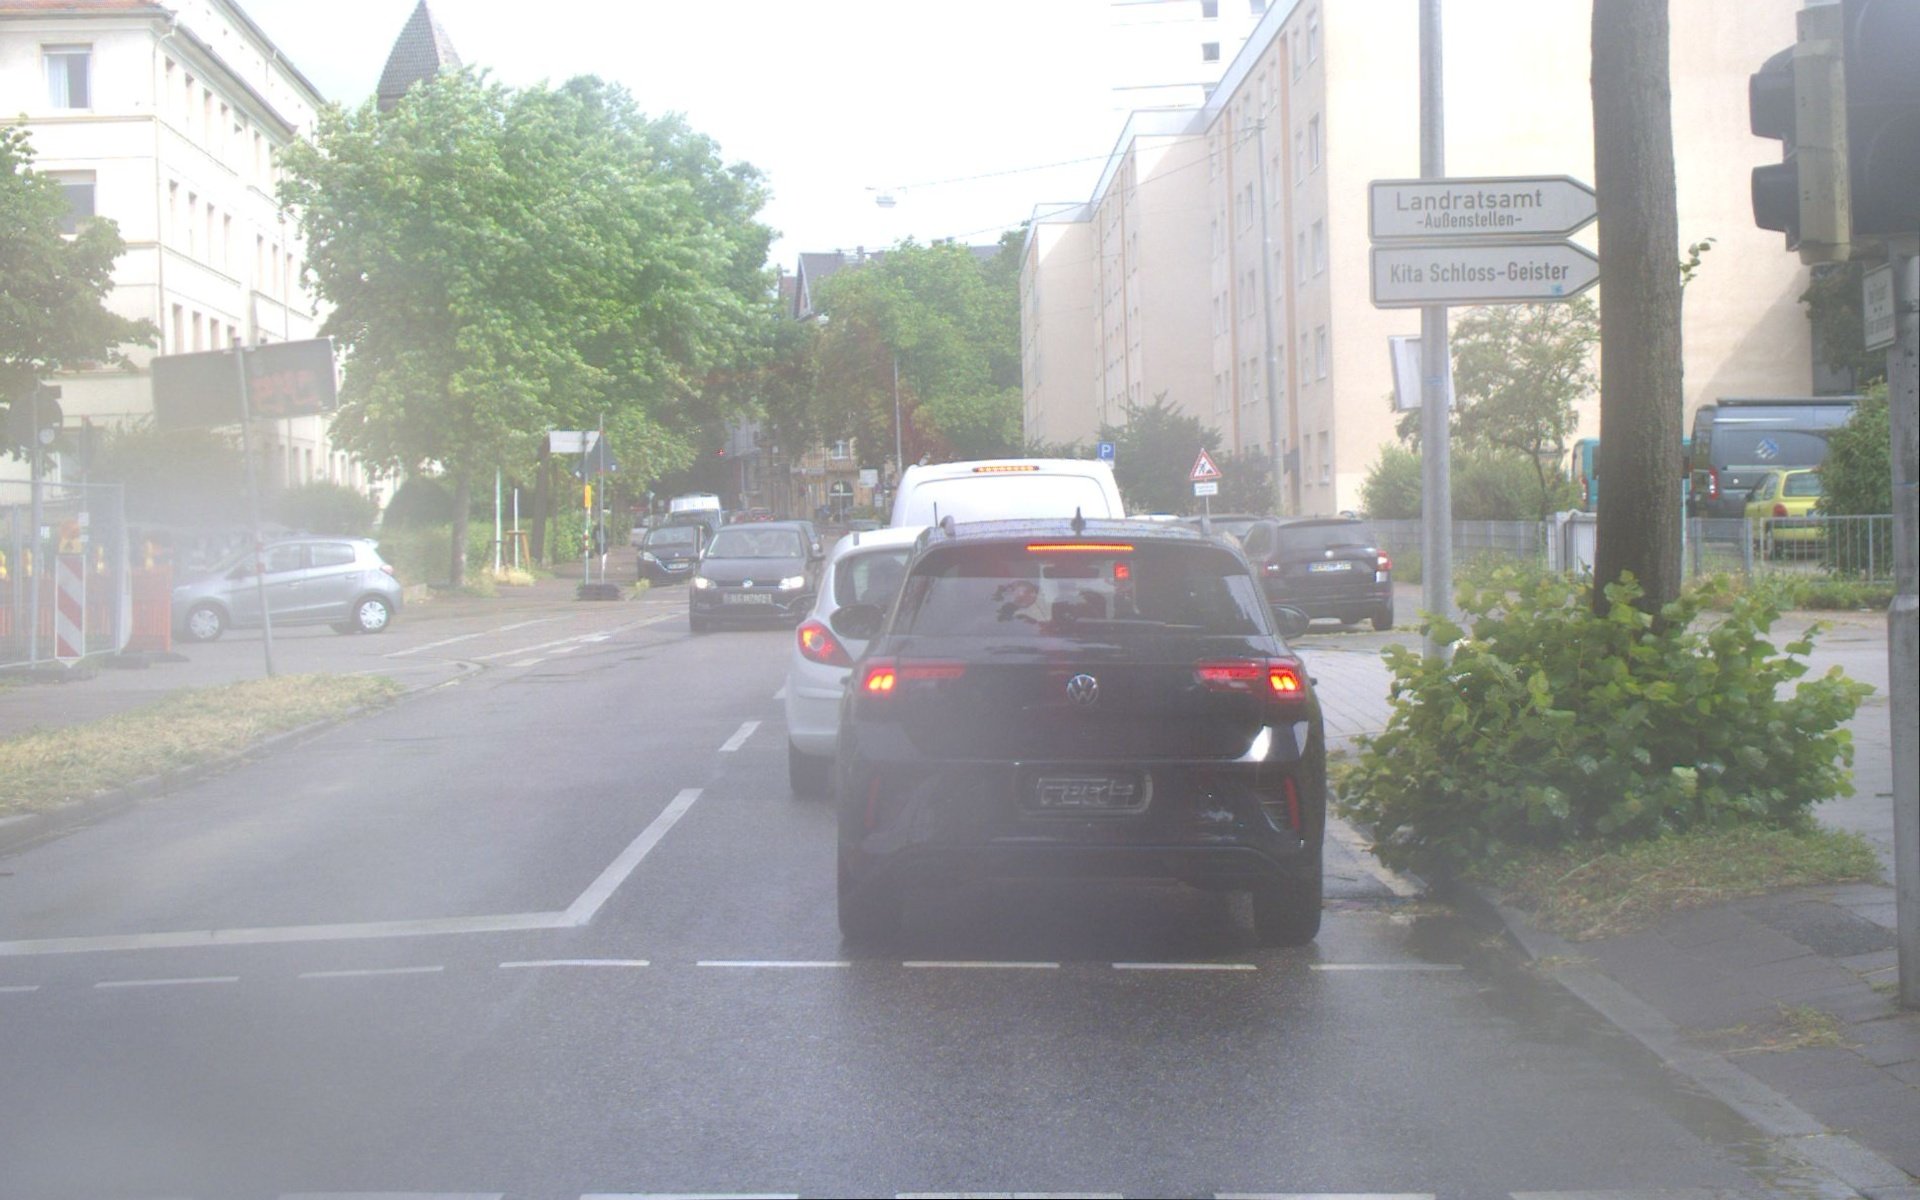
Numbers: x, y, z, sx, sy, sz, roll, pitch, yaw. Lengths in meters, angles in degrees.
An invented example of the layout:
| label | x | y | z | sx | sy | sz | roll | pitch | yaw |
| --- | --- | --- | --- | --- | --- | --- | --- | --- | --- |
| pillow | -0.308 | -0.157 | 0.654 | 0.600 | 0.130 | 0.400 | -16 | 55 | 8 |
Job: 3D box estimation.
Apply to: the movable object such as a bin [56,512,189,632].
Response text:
| label | x | y | z | sx | sy | sz | roll | pitch | yaw |
| --- | --- | --- | --- | --- | --- | --- | --- | --- | --- |
| movable object such as a bin | -13.310 | -0.451 | 54.687 | 1.539 | 1.818 | 1.262 | -1 | 2 | 19 |

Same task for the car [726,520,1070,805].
| label | x | y | z | sx | sy | sz | roll | pitch | yaw |
| --- | --- | --- | --- | --- | --- | --- | --- | --- | --- |
| car | -0.332 | 0.311 | 20.266 | 1.813 | 1.498 | 4.000 | 0 | 1 | 0 |

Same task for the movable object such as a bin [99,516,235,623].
| label | x | y | z | sx | sy | sz | roll | pitch | yaw |
| --- | --- | --- | --- | --- | --- | --- | --- | --- | --- |
| movable object such as a bin | -12.959 | -0.499 | 56.226 | 1.539 | 1.650 | 1.526 | -1 | 2 | 19 |

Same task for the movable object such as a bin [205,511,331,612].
| label | x | y | z | sx | sy | sz | roll | pitch | yaw |
| --- | --- | --- | --- | --- | --- | --- | --- | --- | --- |
| movable object such as a bin | -11.923 | -0.673 | 59.296 | 1.539 | 1.656 | 1.457 | -1 | 2 | 19 |

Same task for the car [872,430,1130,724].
| label | x | y | z | sx | sy | sz | roll | pitch | yaw |
| --- | --- | --- | --- | --- | --- | --- | --- | --- | --- |
| car | 0.354 | -0.190 | 26.676 | 1.836 | 2.095 | 4.000 | 1 | 1 | 2 |

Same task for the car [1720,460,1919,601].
| label | x | y | z | sx | sy | sz | roll | pitch | yaw |
| --- | --- | --- | --- | --- | --- | --- | --- | --- | --- |
| car | 11.580 | -0.953 | 46.400 | 1.804 | 1.744 | 4.238 | -2 | 2 | 2 |

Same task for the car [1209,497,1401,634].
| label | x | y | z | sx | sy | sz | roll | pitch | yaw |
| --- | --- | --- | --- | --- | --- | --- | --- | --- | --- |
| car | 4.293 | -0.473 | 43.385 | 1.774 | 1.534 | 4.379 | -4 | 2 | -1 |

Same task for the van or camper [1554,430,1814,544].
| label | x | y | z | sx | sy | sz | roll | pitch | yaw |
| --- | --- | --- | --- | --- | --- | --- | --- | --- | --- |
| van or camper | 14.450 | -2.262 | 68.827 | 4.760 | 2.124 | 2.321 | -1 | 2 | 4 |

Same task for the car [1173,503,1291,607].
| label | x | y | z | sx | sy | sz | roll | pitch | yaw |
| --- | --- | --- | --- | --- | --- | --- | --- | --- | --- |
| car | 4.308 | -0.694 | 54.838 | 1.757 | 1.522 | 3.999 | 2 | 0 | 4 |

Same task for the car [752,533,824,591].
| label | x | y | z | sx | sy | sz | roll | pitch | yaw |
| --- | --- | --- | --- | --- | --- | --- | --- | --- | --- |
| car | -5.208 | -1.179 | 104.505 | 1.841 | 1.602 | 4.000 | -3 | 1 | 1 |

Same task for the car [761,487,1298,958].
| label | x | y | z | sx | sy | sz | roll | pitch | yaw |
| --- | --- | --- | --- | --- | --- | --- | --- | --- | --- |
| car | 0.234 | 0.400 | 14.073 | 1.873 | 1.640 | 4.062 | 0 | 1 | 0 |

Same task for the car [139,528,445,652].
| label | x | y | z | sx | sy | sz | roll | pitch | yaw |
| --- | --- | --- | --- | --- | --- | --- | --- | --- | --- |
| car | -9.825 | -0.148 | 50.584 | 3.986 | 1.631 | 1.895 | -3 | 0 | -27 |

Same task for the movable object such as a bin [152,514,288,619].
| label | x | y | z | sx | sy | sz | roll | pitch | yaw |
| --- | --- | --- | --- | --- | --- | --- | --- | --- | --- |
| movable object such as a bin | -12.426 | -0.576 | 57.784 | 1.539 | 1.668 | 1.664 | -1 | 2 | 19 |

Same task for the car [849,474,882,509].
| label | x | y | z | sx | sy | sz | roll | pitch | yaw |
| --- | --- | --- | --- | --- | --- | --- | --- | --- | --- |
| car | -5.085 | -5.847 | 185.600 | 1.665 | 1.831 | 4.001 | -2 | 2 | -2 |

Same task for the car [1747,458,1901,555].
| label | x | y | z | sx | sy | sz | roll | pitch | yaw |
| --- | --- | --- | --- | --- | --- | --- | --- | --- | --- |
| car | 13.784 | -1.503 | 54.986 | 1.610 | 1.444 | 3.417 | -2 | 2 | 1 |

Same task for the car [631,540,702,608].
| label | x | y | z | sx | sy | sz | roll | pitch | yaw |
| --- | --- | --- | --- | --- | --- | --- | --- | --- | --- |
| car | -7.110 | -0.649 | 83.401 | 1.585 | 1.500 | 4.065 | -3 | 2 | -5 |

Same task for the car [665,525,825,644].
| label | x | y | z | sx | sy | sz | roll | pitch | yaw |
| --- | --- | --- | --- | --- | --- | --- | --- | --- | --- |
| car | -2.901 | -0.246 | 47.080 | 1.813 | 1.535 | 3.982 | 0 | 1 | 2 |

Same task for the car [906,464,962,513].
| label | x | y | z | sx | sy | sz | roll | pitch | yaw |
| --- | --- | --- | --- | --- | --- | --- | --- | --- | --- |
| car | -0.918 | -3.972 | 122.670 | 1.841 | 1.602 | 3.675 | -3 | 1 | 1 |

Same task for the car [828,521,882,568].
| label | x | y | z | sx | sy | sz | roll | pitch | yaw |
| --- | --- | --- | --- | --- | --- | --- | --- | --- | --- |
| car | -3.845 | -2.049 | 126.481 | 1.740 | 1.602 | 3.675 | -3 | 1 | 1 |

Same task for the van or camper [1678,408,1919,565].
| label | x | y | z | sx | sy | sz | roll | pitch | yaw |
| --- | --- | --- | --- | --- | --- | --- | --- | --- | --- |
| van or camper | 14.968 | -1.924 | 58.534 | 4.998 | 2.545 | 2.175 | -1 | 1 | 2 |
